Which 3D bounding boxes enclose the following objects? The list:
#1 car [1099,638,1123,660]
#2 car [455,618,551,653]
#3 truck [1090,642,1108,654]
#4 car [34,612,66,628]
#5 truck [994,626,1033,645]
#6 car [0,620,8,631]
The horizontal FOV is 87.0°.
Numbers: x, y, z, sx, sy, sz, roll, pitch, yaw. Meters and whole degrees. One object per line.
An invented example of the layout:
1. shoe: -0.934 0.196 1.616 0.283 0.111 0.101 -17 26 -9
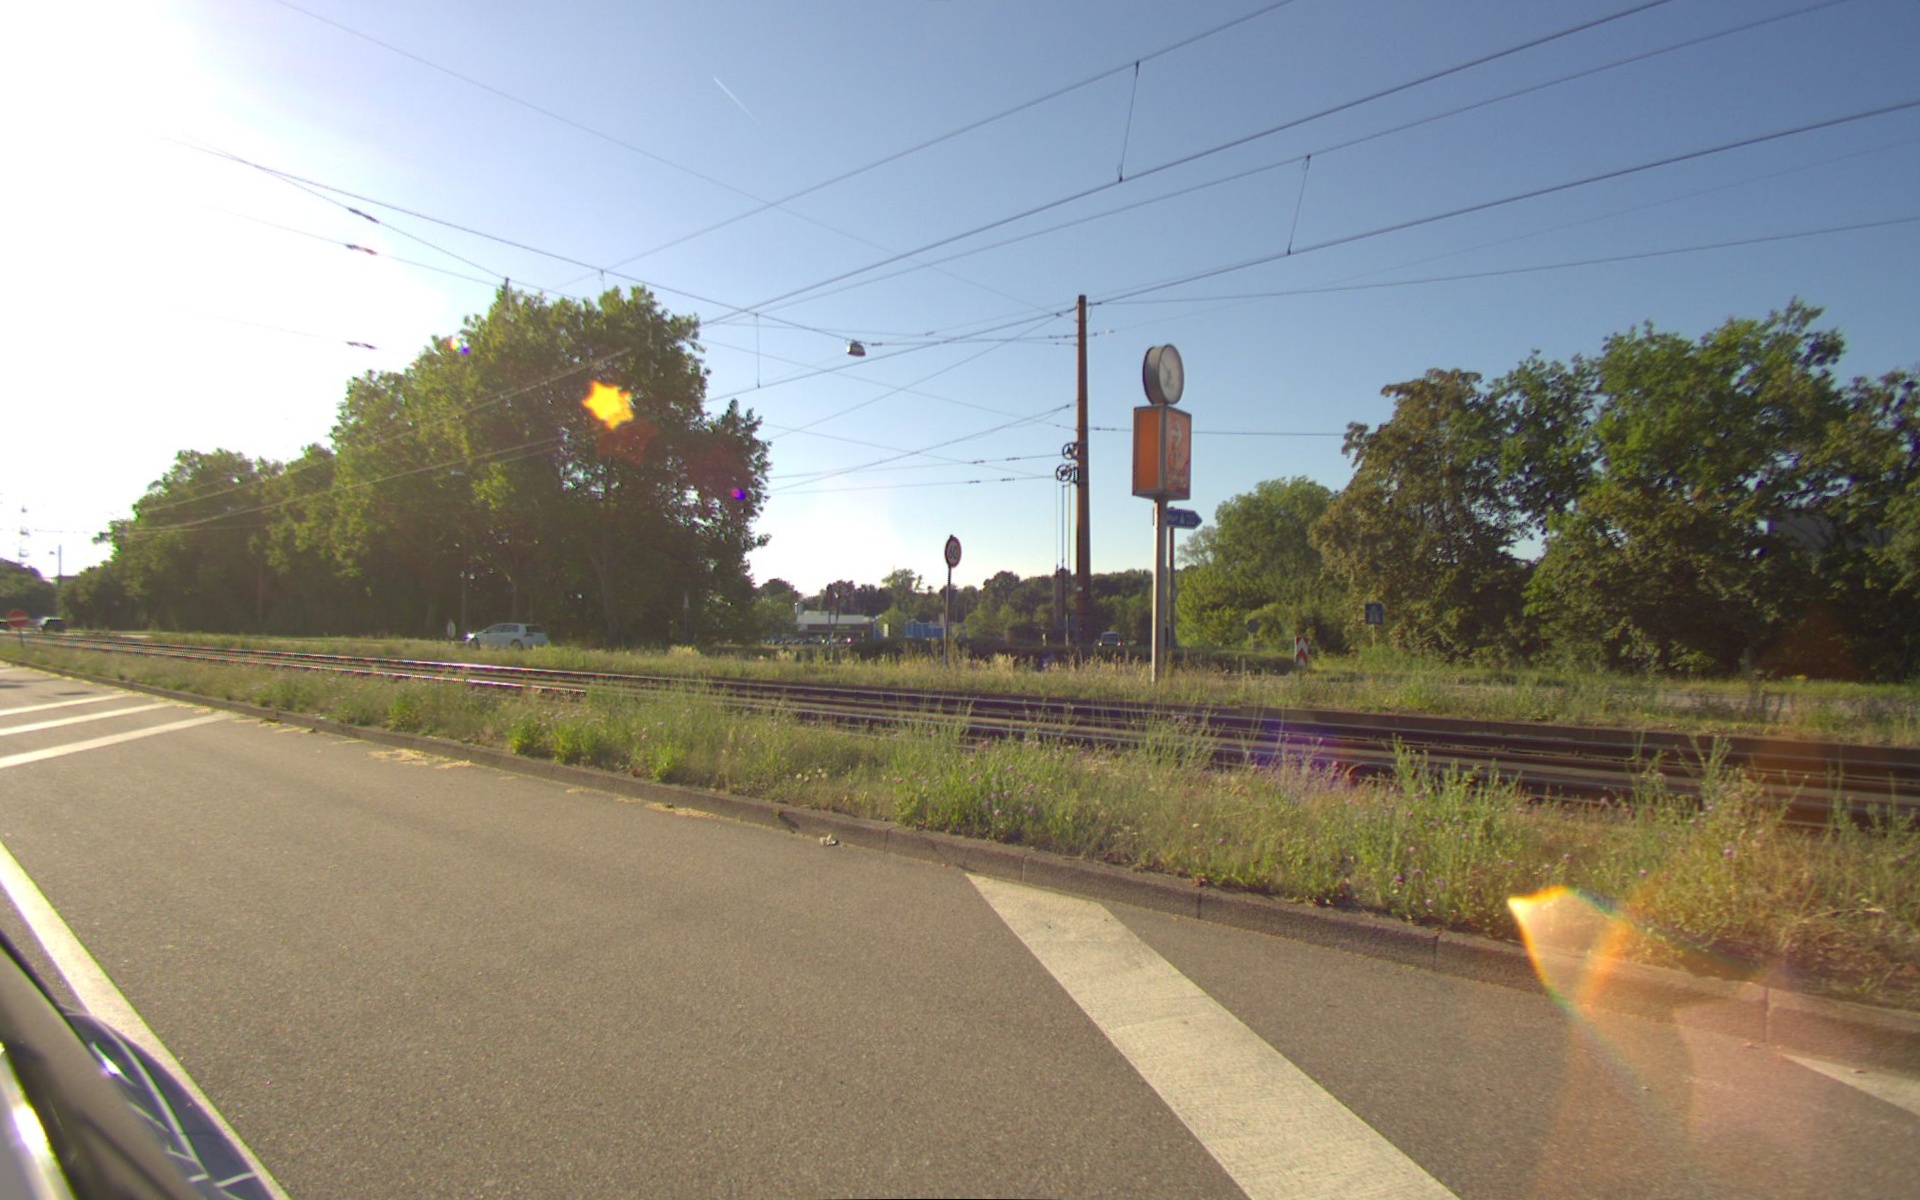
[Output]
1. car: 11.510 3.769 76.986 1.640 1.537 4.113 3 -3 10
2. car: -22.904 1.770 50.764 4.231 1.537 1.651 2 0 14
3. truck: 19.305 6.649 140.478 1.634 1.537 4.130 3 -3 -4
4. car: -101.399 2.209 112.758 4.936 1.707 1.879 -1 -3 39
5. truck: 7.361 4.898 139.942 4.944 2.540 2.072 -1 0 -20
6. car: -131.431 3.486 138.110 4.343 1.479 1.693 -2 -4 39
